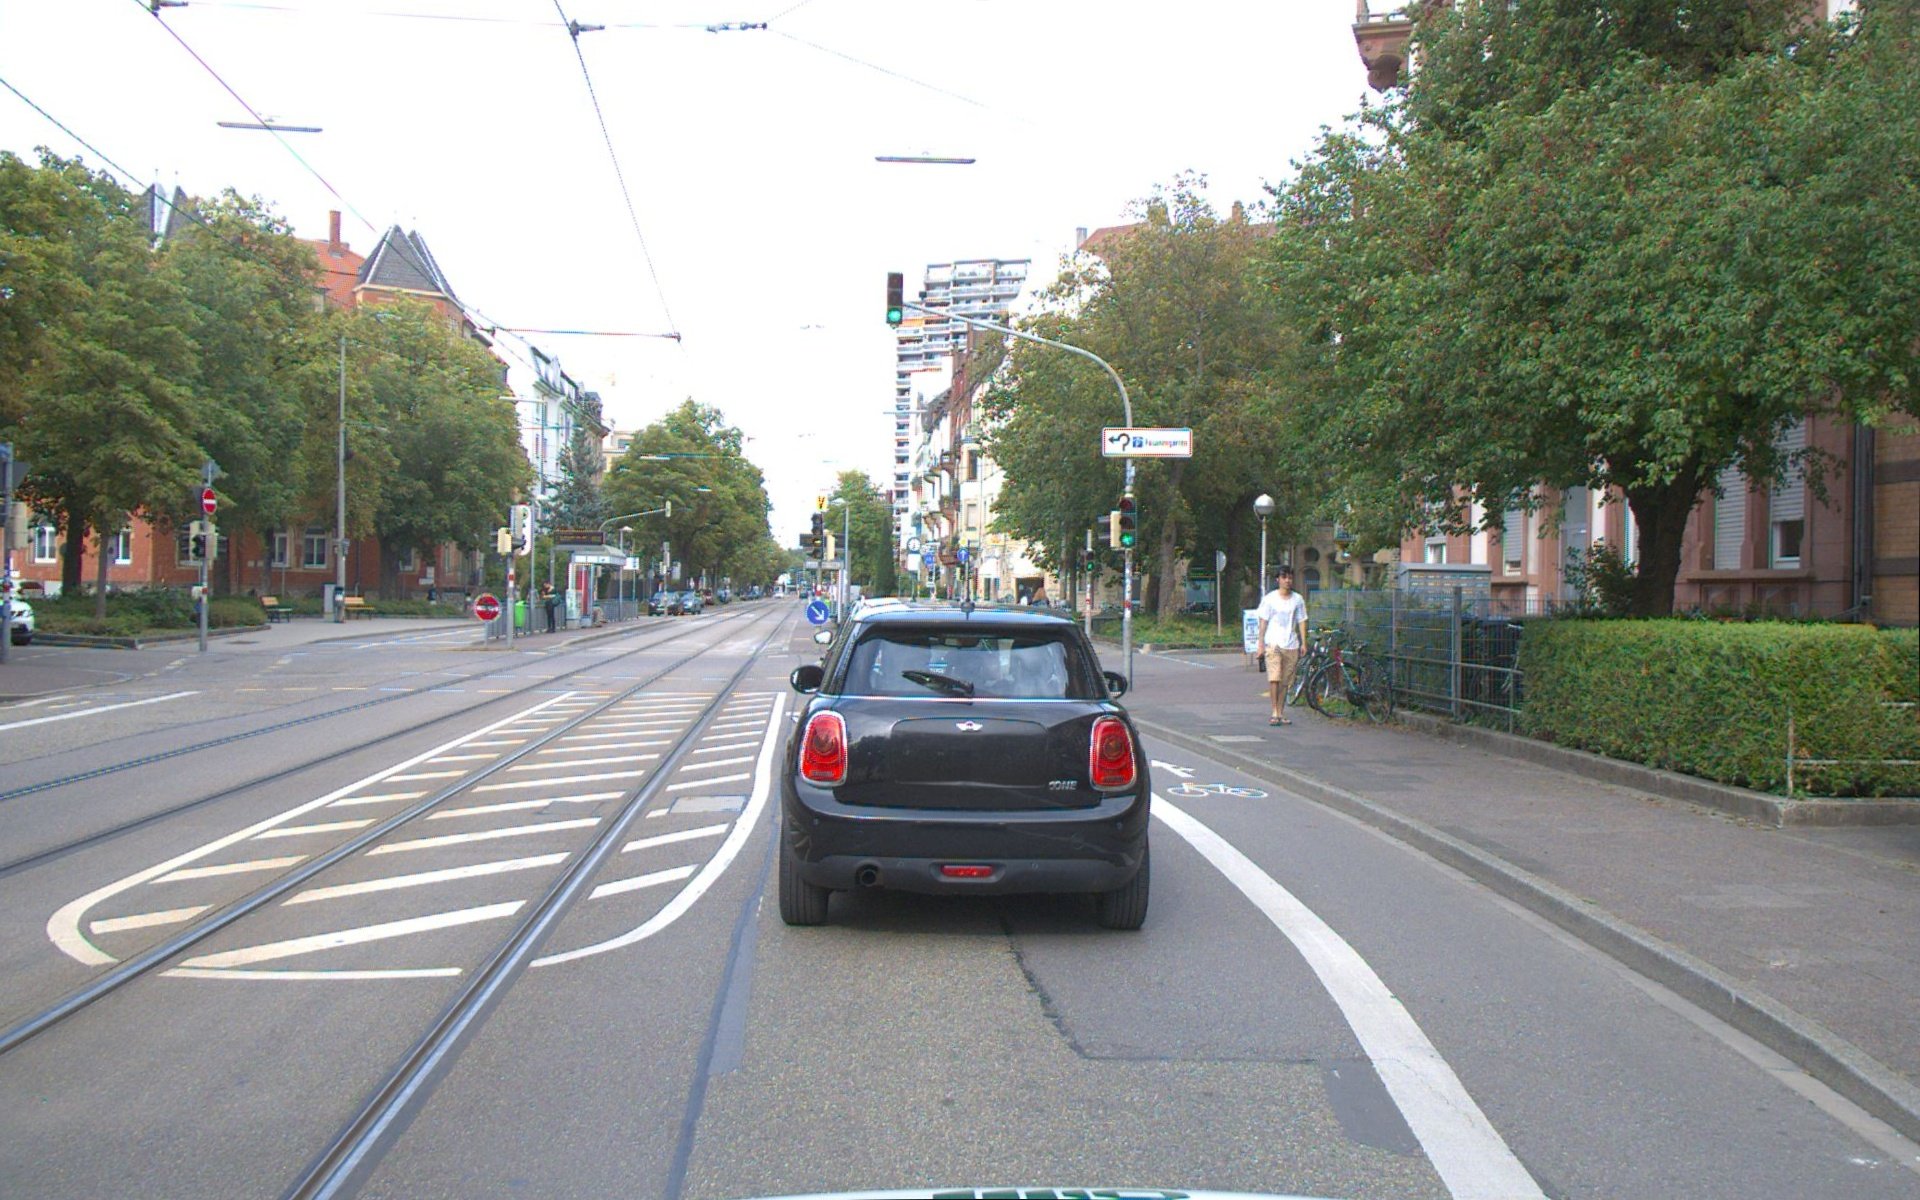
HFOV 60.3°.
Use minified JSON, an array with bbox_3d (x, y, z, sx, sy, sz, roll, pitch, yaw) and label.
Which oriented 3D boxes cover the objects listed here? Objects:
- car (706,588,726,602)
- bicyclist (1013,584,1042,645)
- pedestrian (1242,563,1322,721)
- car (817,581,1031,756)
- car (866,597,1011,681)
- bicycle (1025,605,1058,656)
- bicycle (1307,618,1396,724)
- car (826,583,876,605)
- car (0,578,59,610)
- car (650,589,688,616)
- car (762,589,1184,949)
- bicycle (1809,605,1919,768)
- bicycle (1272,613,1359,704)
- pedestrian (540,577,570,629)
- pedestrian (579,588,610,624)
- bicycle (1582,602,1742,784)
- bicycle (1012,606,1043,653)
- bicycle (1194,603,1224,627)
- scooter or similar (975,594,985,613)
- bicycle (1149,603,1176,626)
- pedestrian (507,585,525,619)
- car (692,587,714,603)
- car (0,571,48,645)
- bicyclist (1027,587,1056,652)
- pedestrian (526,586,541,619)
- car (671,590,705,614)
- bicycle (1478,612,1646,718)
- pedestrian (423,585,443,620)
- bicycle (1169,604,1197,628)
[{"bbox_3d":[-28.196,-0.552,191.338,1.954,1.579,3.996,1,0,-5],"label":"car"},{"bbox_3d":[1.790,0.382,44.178,0.670,1.591,0.997,0,0,-3],"label":"bicyclist"},{"bbox_3d":[3.719,0.468,19.173,0.715,1.784,0.949,1,0,-1],"label":"pedestrian"},{"bbox_3d":[-0.391,0.601,16.715,1.888,1.536,3.998,1,0,-2],"label":"car"},{"bbox_3d":[-0.324,0.680,31.413,1.714,1.466,4.483,1,0,13],"label":"car"},{"bbox_3d":[2.005,0.743,40.986,0.587,1.190,1.695,0,0,-5],"label":"bicycle"},{"bbox_3d":[4.484,0.790,19.042,0.498,1.107,1.548,-3,1,-5],"label":"bicycle"},{"bbox_3d":[-11.508,-0.653,175.310,2.357,2.312,5.004,1,0,44],"label":"car"},{"bbox_3d":[-45.231,-0.297,78.824,3.903,1.504,1.816,1,0,18],"label":"car"},{"bbox_3d":[-17.063,0.142,97.172,1.717,1.466,3.997,2,0,-3],"label":"car"},{"bbox_3d":[0.008,0.686,8.796,1.716,1.466,3.999,1,0,-2],"label":"car"},{"bbox_3d":[7.321,0.645,12.576,1.515,1.201,0.517,0,0,-7],"label":"bicycle"},{"bbox_3d":[4.667,0.750,21.790,0.658,1.125,1.670,0,0,-5],"label":"bicycle"},{"bbox_3d":[-12.773,0.093,52.183,0.836,1.649,0.841,1,0,-10],"label":"pedestrian"},{"bbox_3d":[-13.292,0.212,60.136,1.039,1.316,0.983,1,0,-10],"label":"pedestrian"},{"bbox_3d":[5.390,0.679,12.777,0.505,1.304,1.549,0,0,-3],"label":"bicycle"},{"bbox_3d":[1.786,0.772,44.236,0.670,1.190,1.695,0,0,-3],"label":"bicycle"},{"bbox_3d":[12.290,0.734,81.527,0.654,1.147,1.886,1,0,37],"label":"bicycle"},{"bbox_3d":[1.254,0.215,104.956,0.498,1.209,1.260,0,0,-5],"label":"scooter or similar"},{"bbox_3d":[10.213,0.721,83.353,0.522,1.147,1.886,1,0,37],"label":"bicycle"},{"bbox_3d":[-23.008,0.092,85.744,0.817,1.733,0.731,1,0,-10],"label":"pedestrian"},{"bbox_3d":[-26.175,-0.520,168.480,1.954,1.579,3.996,1,0,-5],"label":"car"},{"bbox_3d":[-24.508,0.222,40.876,4.074,1.751,1.834,-2,-2,35],"label":"car"},{"bbox_3d":[2.005,0.480,40.979,0.583,1.577,1.013,0,0,-5],"label":"bicyclist"},{"bbox_3d":[-22.979,0.132,89.116,0.680,1.749,0.757,1,0,-3],"label":"pedestrian"},{"bbox_3d":[-17.543,0.124,106.809,1.717,1.466,3.997,2,0,-3],"label":"car"},{"bbox_3d":[5.995,0.640,16.492,1.515,1.026,0.509,0,0,-7],"label":"bicycle"},{"bbox_3d":[-25.879,0.117,81.229,0.817,1.733,0.731,1,0,-10],"label":"pedestrian"},{"bbox_3d":[11.164,0.786,82.648,0.522,1.147,1.886,1,0,37],"label":"bicycle"}]
